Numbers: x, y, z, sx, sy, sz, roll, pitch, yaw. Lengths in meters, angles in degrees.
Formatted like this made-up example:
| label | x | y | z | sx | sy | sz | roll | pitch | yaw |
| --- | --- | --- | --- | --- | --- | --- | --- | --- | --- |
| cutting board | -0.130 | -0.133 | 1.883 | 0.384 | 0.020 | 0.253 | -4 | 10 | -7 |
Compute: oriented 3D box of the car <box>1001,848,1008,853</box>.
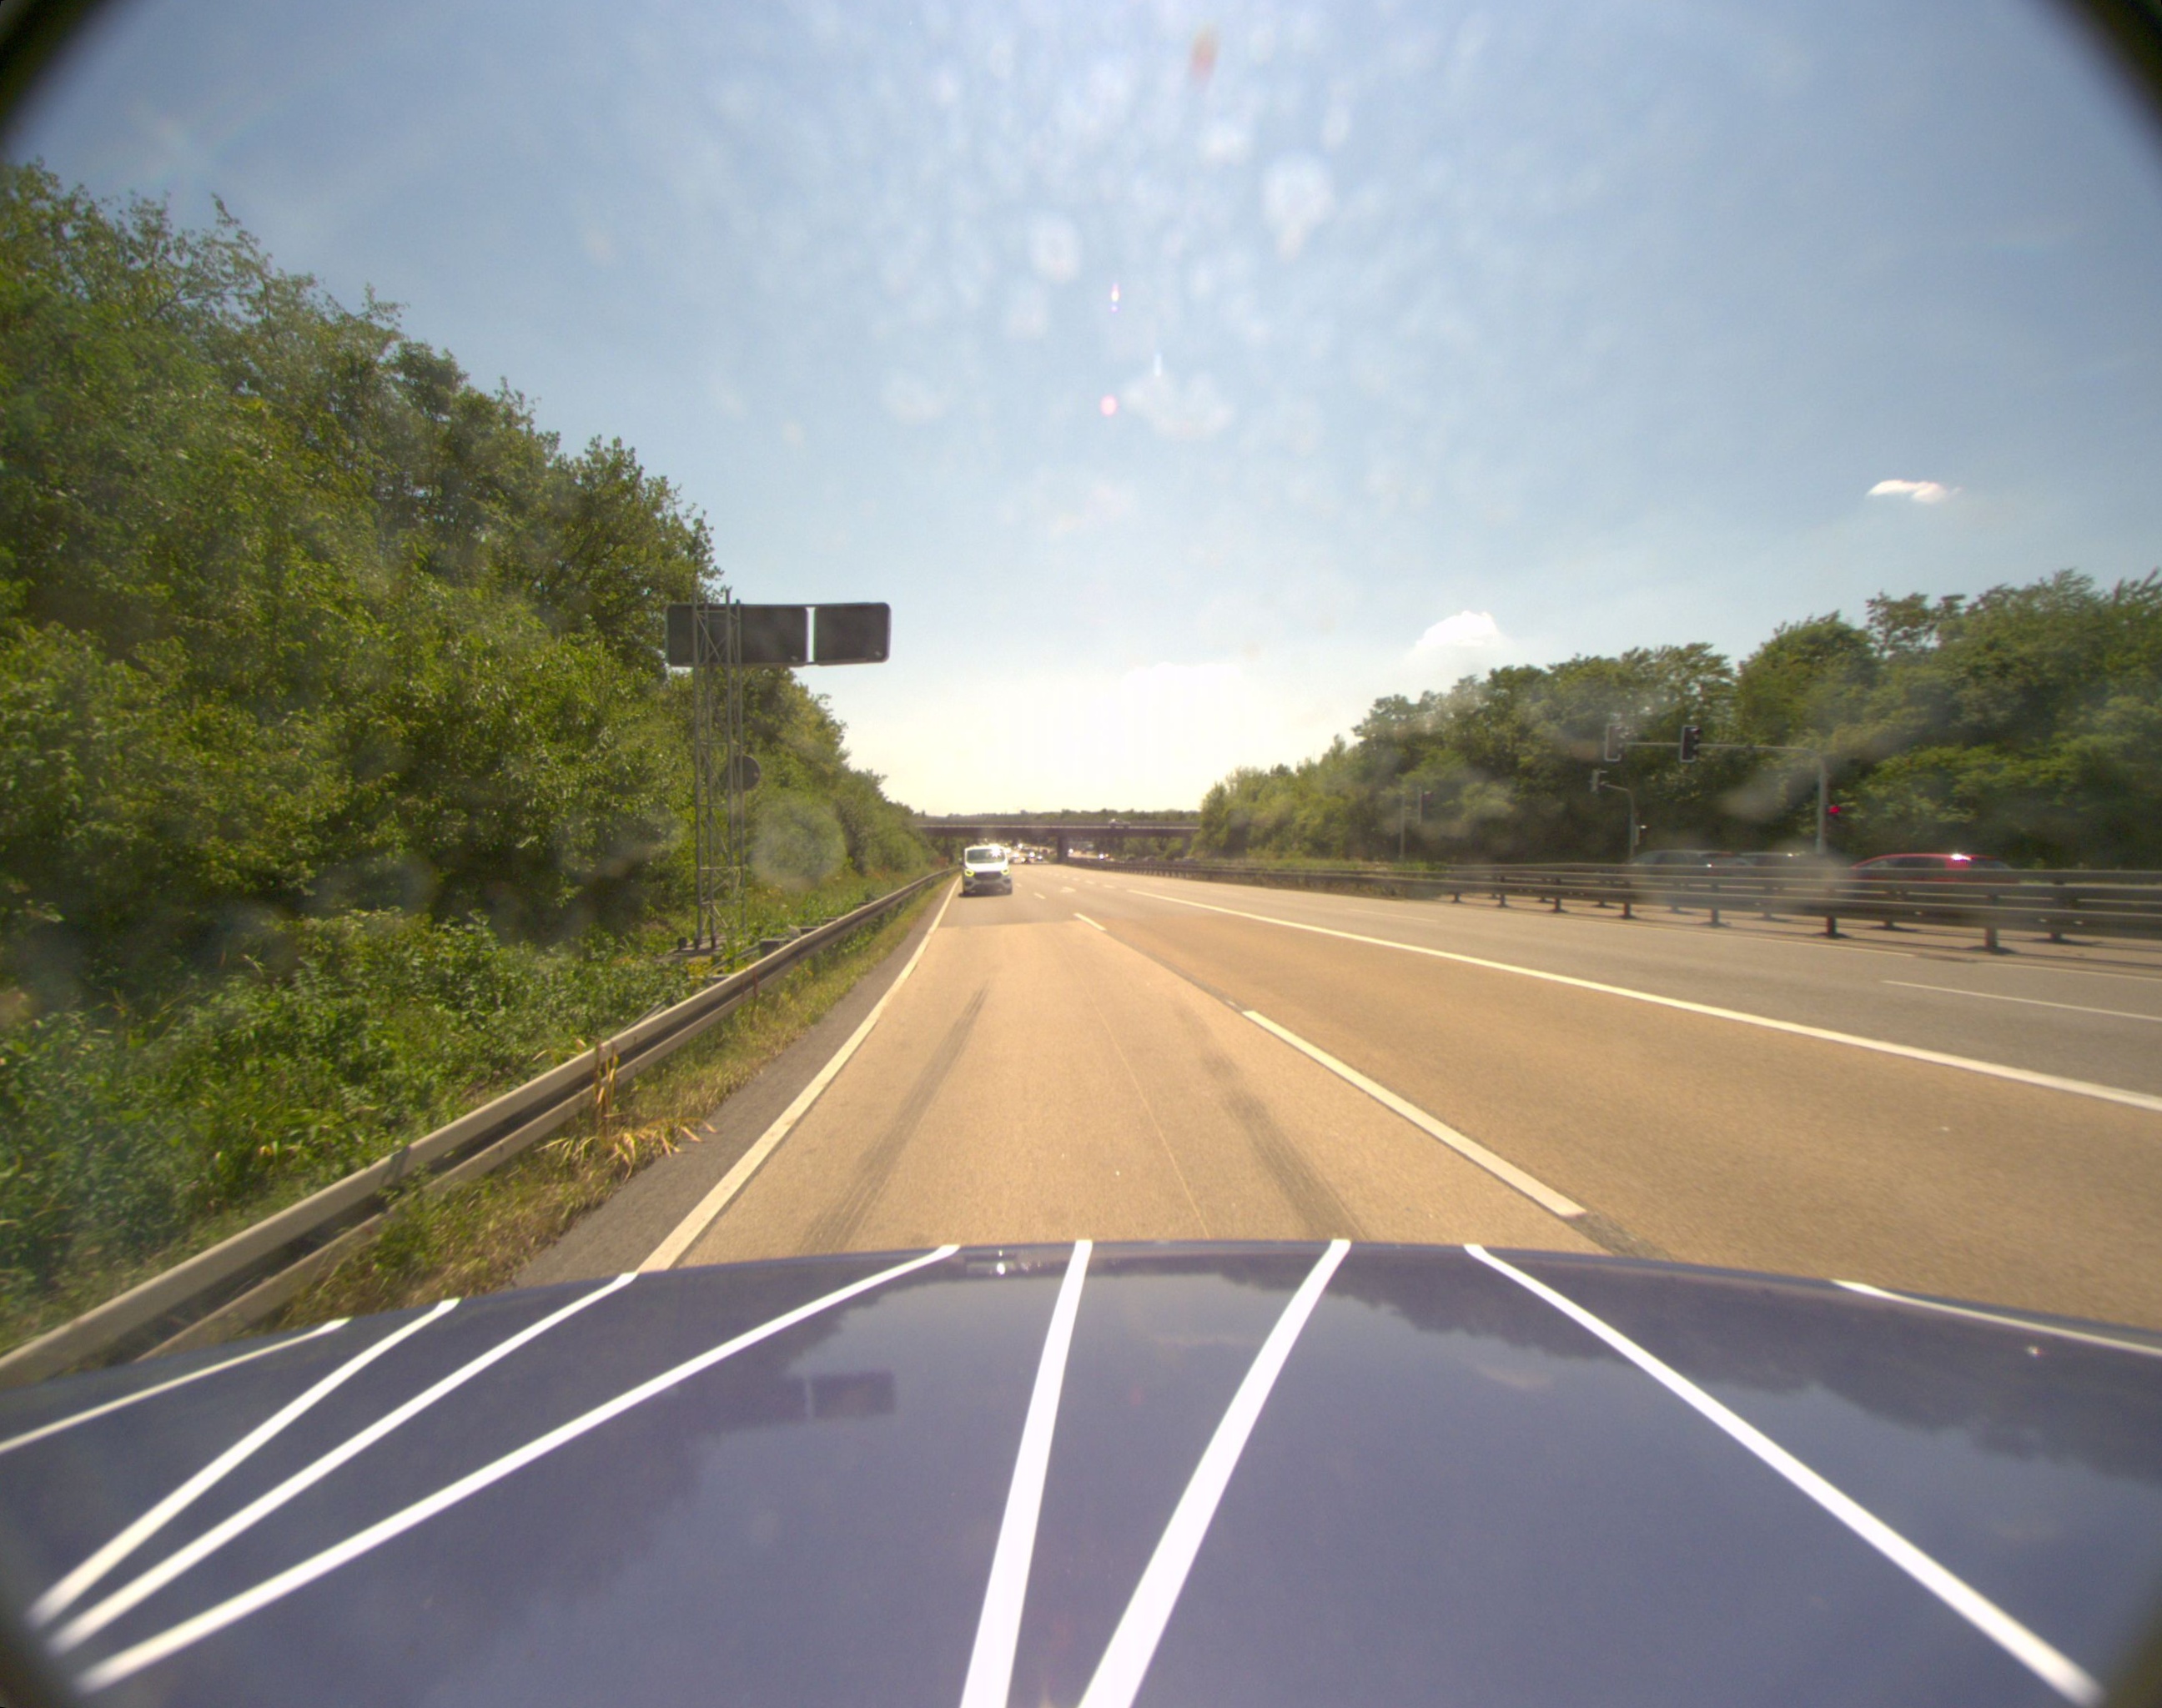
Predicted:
| label | x | y | z | sx | sy | sz | roll | pitch | yaw |
| --- | --- | --- | --- | --- | --- | --- | --- | --- | --- |
| car | -24.293 | -1.053 | 241.343 | 1.999 | 1.622 | 4.471 | -1 | 0 | -4 |

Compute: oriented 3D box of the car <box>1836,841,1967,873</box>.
| label | x | y | z | sx | sy | sz | roll | pitch | yaw |
| --- | --- | --- | --- | --- | --- | --- | --- | --- | --- |
| car | 32.874 | 0.114 | 30.586 | 3.360 | 1.215 | 1.713 | 0 | 1 | 38 |

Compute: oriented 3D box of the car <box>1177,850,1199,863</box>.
| label | x | y | z | sx | sy | sz | roll | pitch | yaw |
| --- | --- | --- | --- | --- | --- | --- | --- | --- | --- |
| car | 13.520 | 0.302 | 96.534 | 1.719 | 1.559 | 3.997 | -1 | 0 | -8 |

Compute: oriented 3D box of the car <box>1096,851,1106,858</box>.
| label | x | y | z | sx | sy | sz | roll | pitch | yaw |
| --- | --- | --- | --- | --- | --- | --- | --- | --- | --- |
| car | 4.588 | 0.156 | 175.930 | 1.758 | 1.516 | 4.470 | -1 | 0 | -6 |

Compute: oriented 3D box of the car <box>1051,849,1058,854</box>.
| label | x | y | z | sx | sy | sz | roll | pitch | yaw |
| --- | --- | --- | --- | --- | --- | --- | --- | --- | --- |
| car | -8.244 | -0.836 | 239.242 | 1.999 | 1.622 | 4.471 | -1 | 0 | -3 |

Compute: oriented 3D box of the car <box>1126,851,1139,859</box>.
| label | x | y | z | sx | sy | sz | roll | pitch | yaw |
| --- | --- | --- | --- | --- | --- | --- | --- | --- | --- |
| car | 10.768 | 0.230 | 159.200 | 2.133 | 1.502 | 4.470 | -1 | 0 | -6 |

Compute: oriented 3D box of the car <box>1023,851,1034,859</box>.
| label | x | y | z | sx | sy | sz | roll | pitch | yaw |
| --- | --- | --- | --- | --- | --- | --- | --- | --- | --- |
| car | -10.430 | 0.155 | 151.319 | 1.999 | 1.622 | 4.471 | -1 | 0 | -4 |

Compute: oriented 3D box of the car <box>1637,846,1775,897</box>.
| label | x | y | z | sx | sy | sz | roll | pitch | yaw |
| --- | --- | --- | --- | --- | --- | --- | --- | --- | --- |
| car | 16.176 | 0.423 | 19.805 | 1.157 | 1.229 | 2.726 | -1 | 0 | -8 |

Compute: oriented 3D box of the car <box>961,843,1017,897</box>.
| label | x | y | z | sx | sy | sz | roll | pitch | yaw |
| --- | --- | --- | --- | --- | --- | --- | --- | --- | --- |
| car | -3.893 | 0.615 | 32.282 | 2.063 | 2.002 | 5.038 | -2 | 0 | -7 |

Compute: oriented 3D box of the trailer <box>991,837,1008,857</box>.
| label | x | y | z | sx | sy | sz | roll | pitch | yaw |
| --- | --- | --- | --- | --- | --- | --- | --- | --- | --- |
| trailer | -20.946 | -1.721 | 195.469 | 3.970 | 4.923 | 15.993 | -1 | 0 | -5 |

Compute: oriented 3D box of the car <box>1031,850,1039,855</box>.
| label | x | y | z | sx | sy | sz | roll | pitch | yaw |
| --- | --- | --- | --- | --- | --- | --- | --- | --- | --- |
| car | -13.080 | -0.418 | 216.284 | 1.999 | 1.622 | 4.471 | -1 | 0 | -4 |

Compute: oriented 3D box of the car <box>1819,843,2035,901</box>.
| label | x | y | z | sx | sy | sz | roll | pitch | yaw |
| --- | --- | --- | --- | --- | --- | --- | --- | --- | --- |
| car | 23.097 | 0.446 | 20.958 | 1.567 | 1.441 | 3.700 | -1 | 0 | -12 |

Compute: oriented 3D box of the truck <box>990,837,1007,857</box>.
| label | x | y | z | sx | sy | sz | roll | pitch | yaw |
| --- | --- | --- | --- | --- | --- | --- | --- | --- | --- |
| truck | -20.328 | -1.698 | 187.842 | 3.986 | 4.923 | 6.226 | -1 | 0 | -5 |

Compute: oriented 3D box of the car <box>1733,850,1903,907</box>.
| label | x | y | z | sx | sy | sz | roll | pitch | yaw |
| --- | --- | --- | --- | --- | --- | --- | --- | --- | --- |
| car | 19.197 | 0.586 | 19.961 | 1.344 | 1.341 | 3.014 | -1 | 0 | -8 |

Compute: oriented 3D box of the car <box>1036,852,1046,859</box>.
| label | x | y | z | sx | sy | sz | roll | pitch | yaw |
| --- | --- | --- | --- | --- | --- | --- | --- | --- | --- |
| car | -8.888 | 0.339 | 168.428 | 1.999 | 1.622 | 4.471 | -1 | 0 | -4 |
